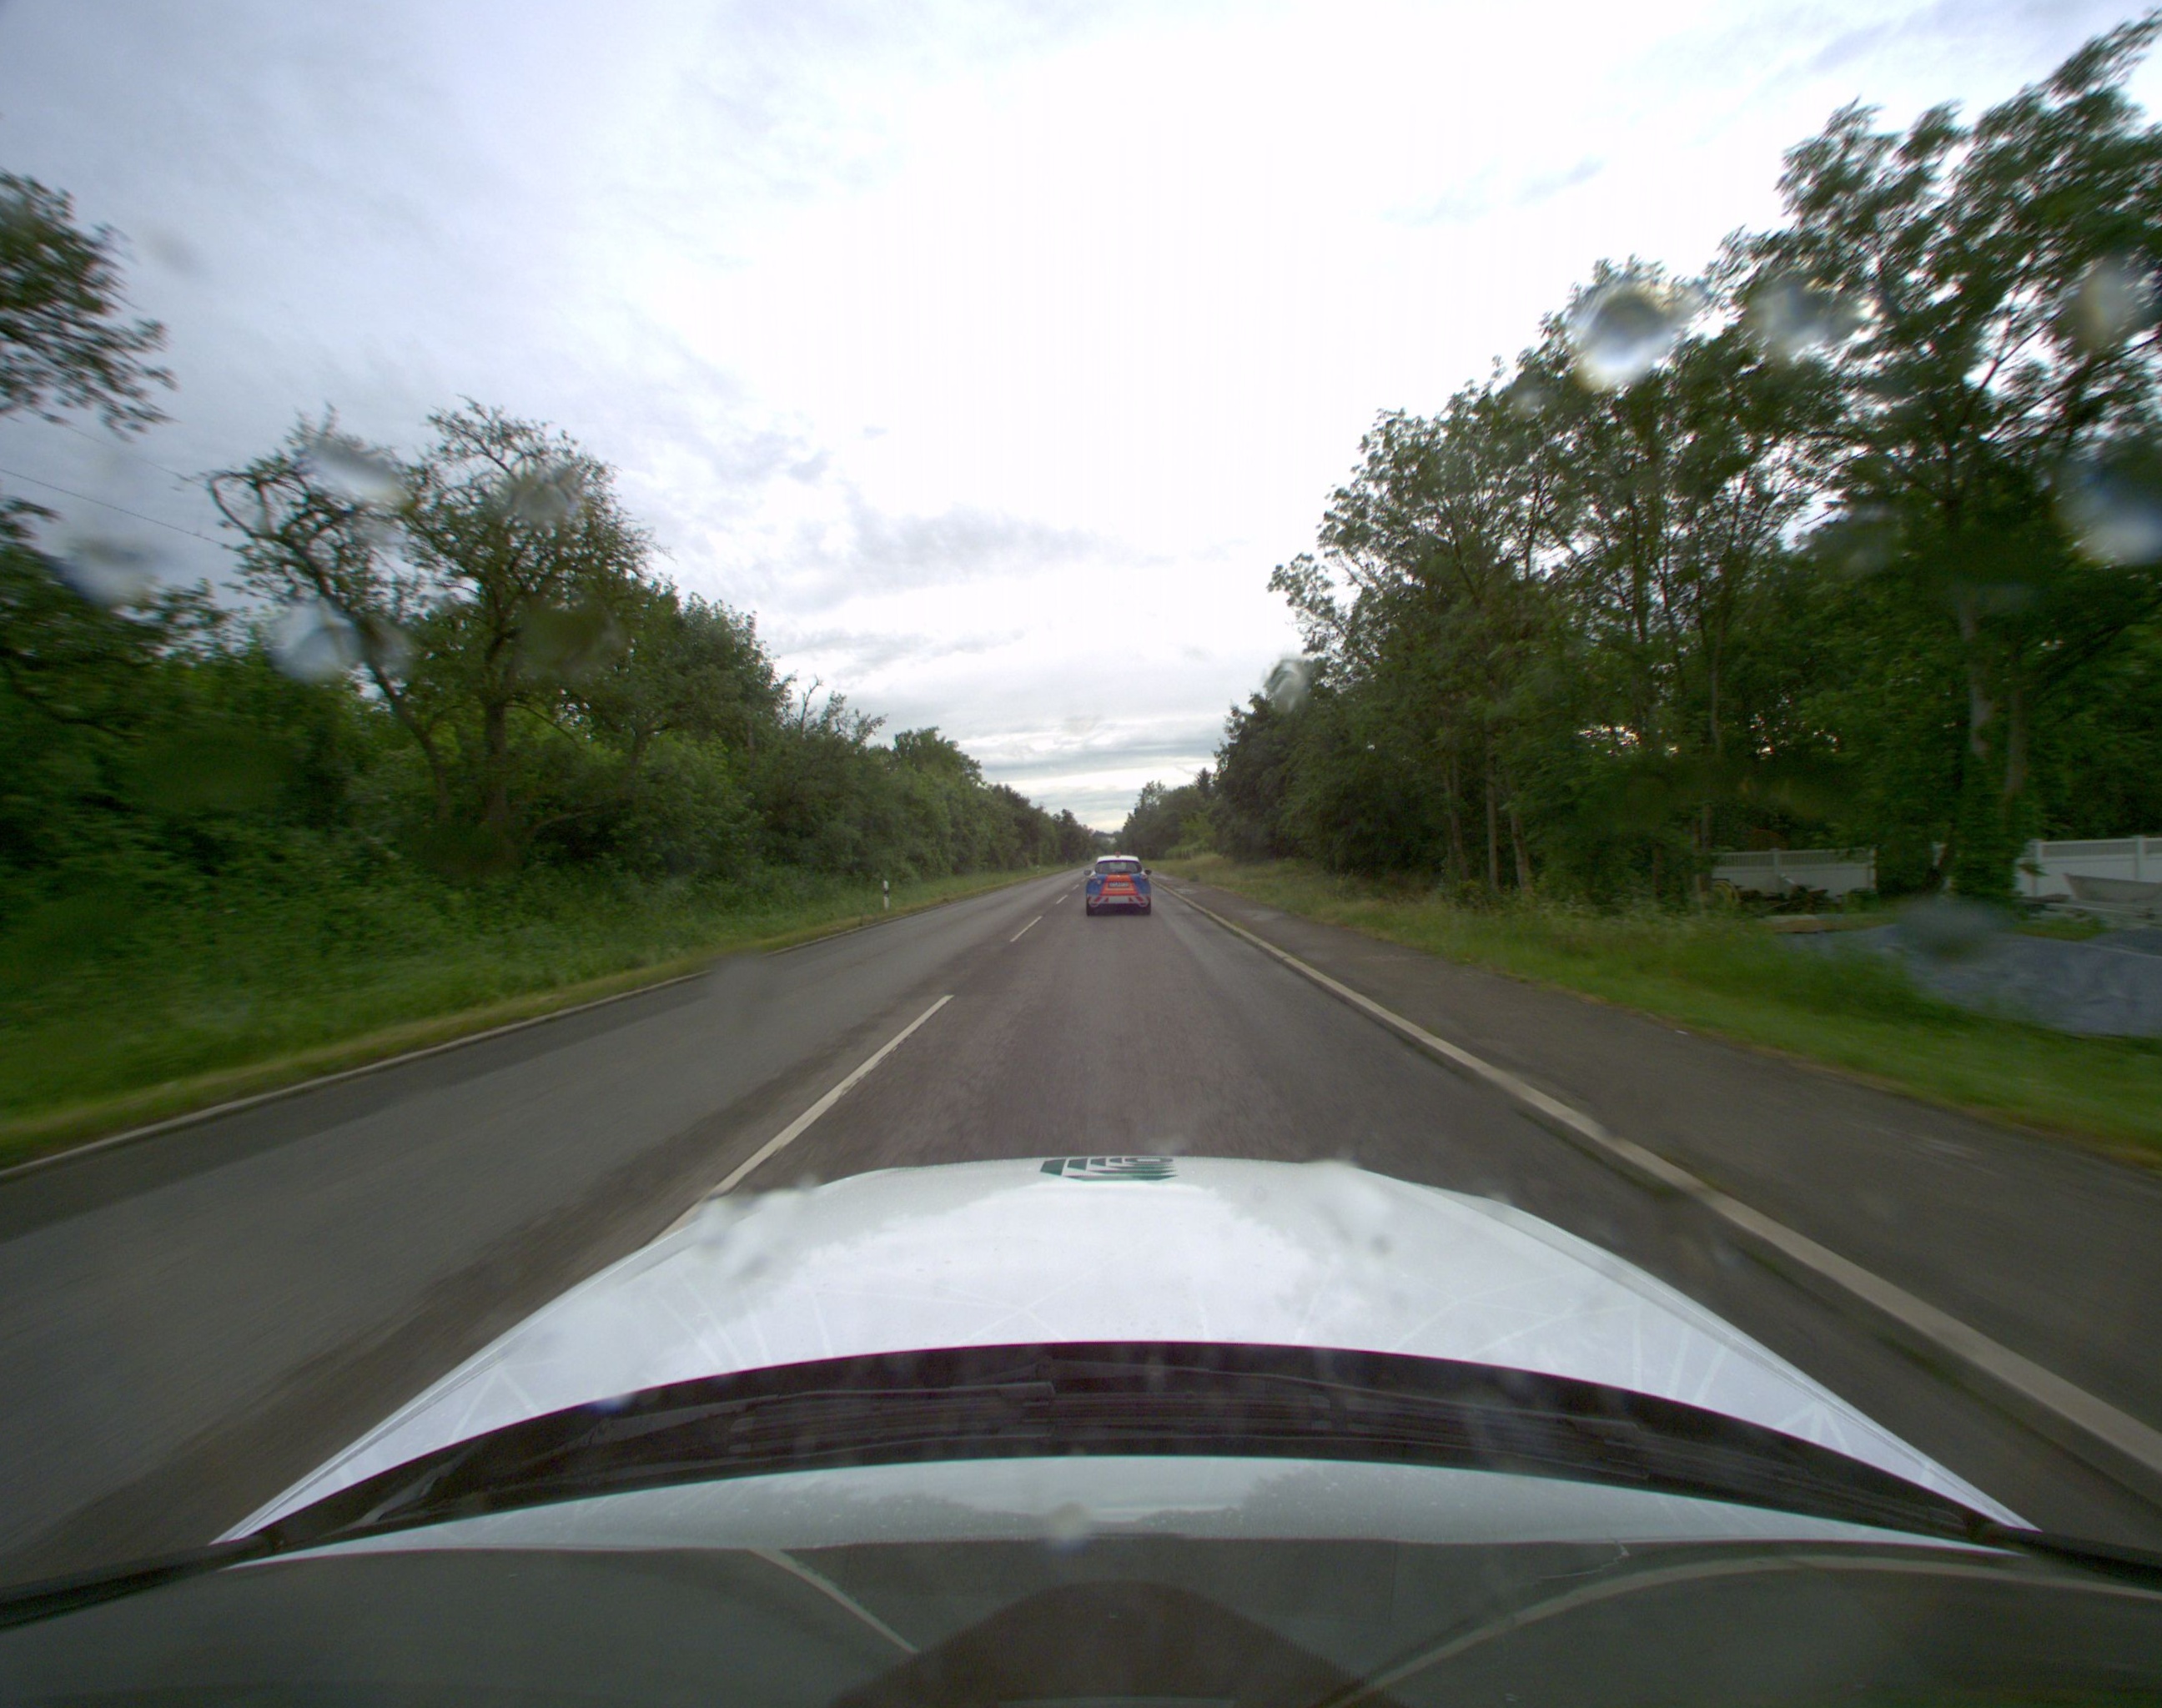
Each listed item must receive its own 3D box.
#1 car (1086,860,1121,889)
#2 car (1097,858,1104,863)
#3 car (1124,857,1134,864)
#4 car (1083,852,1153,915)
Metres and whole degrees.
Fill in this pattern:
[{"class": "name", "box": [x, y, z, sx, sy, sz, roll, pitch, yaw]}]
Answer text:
[{"class": "car", "box": [1.134, 0.981, 40.184, 1.592, 1.287, 3.478, -3, 0, 3]}, {"class": "car", "box": [6.064, 2.032, 253.945, 1.898, 1.556, 4.517, -3, 0, 1]}, {"class": "car", "box": [10.735, 1.430, 182.321, 1.985, 1.376, 4.003, -3, 0, 3]}, {"class": "car", "box": [0.998, 0.744, 22.510, 1.745, 1.555, 3.794, -1, 1, 2]}]
